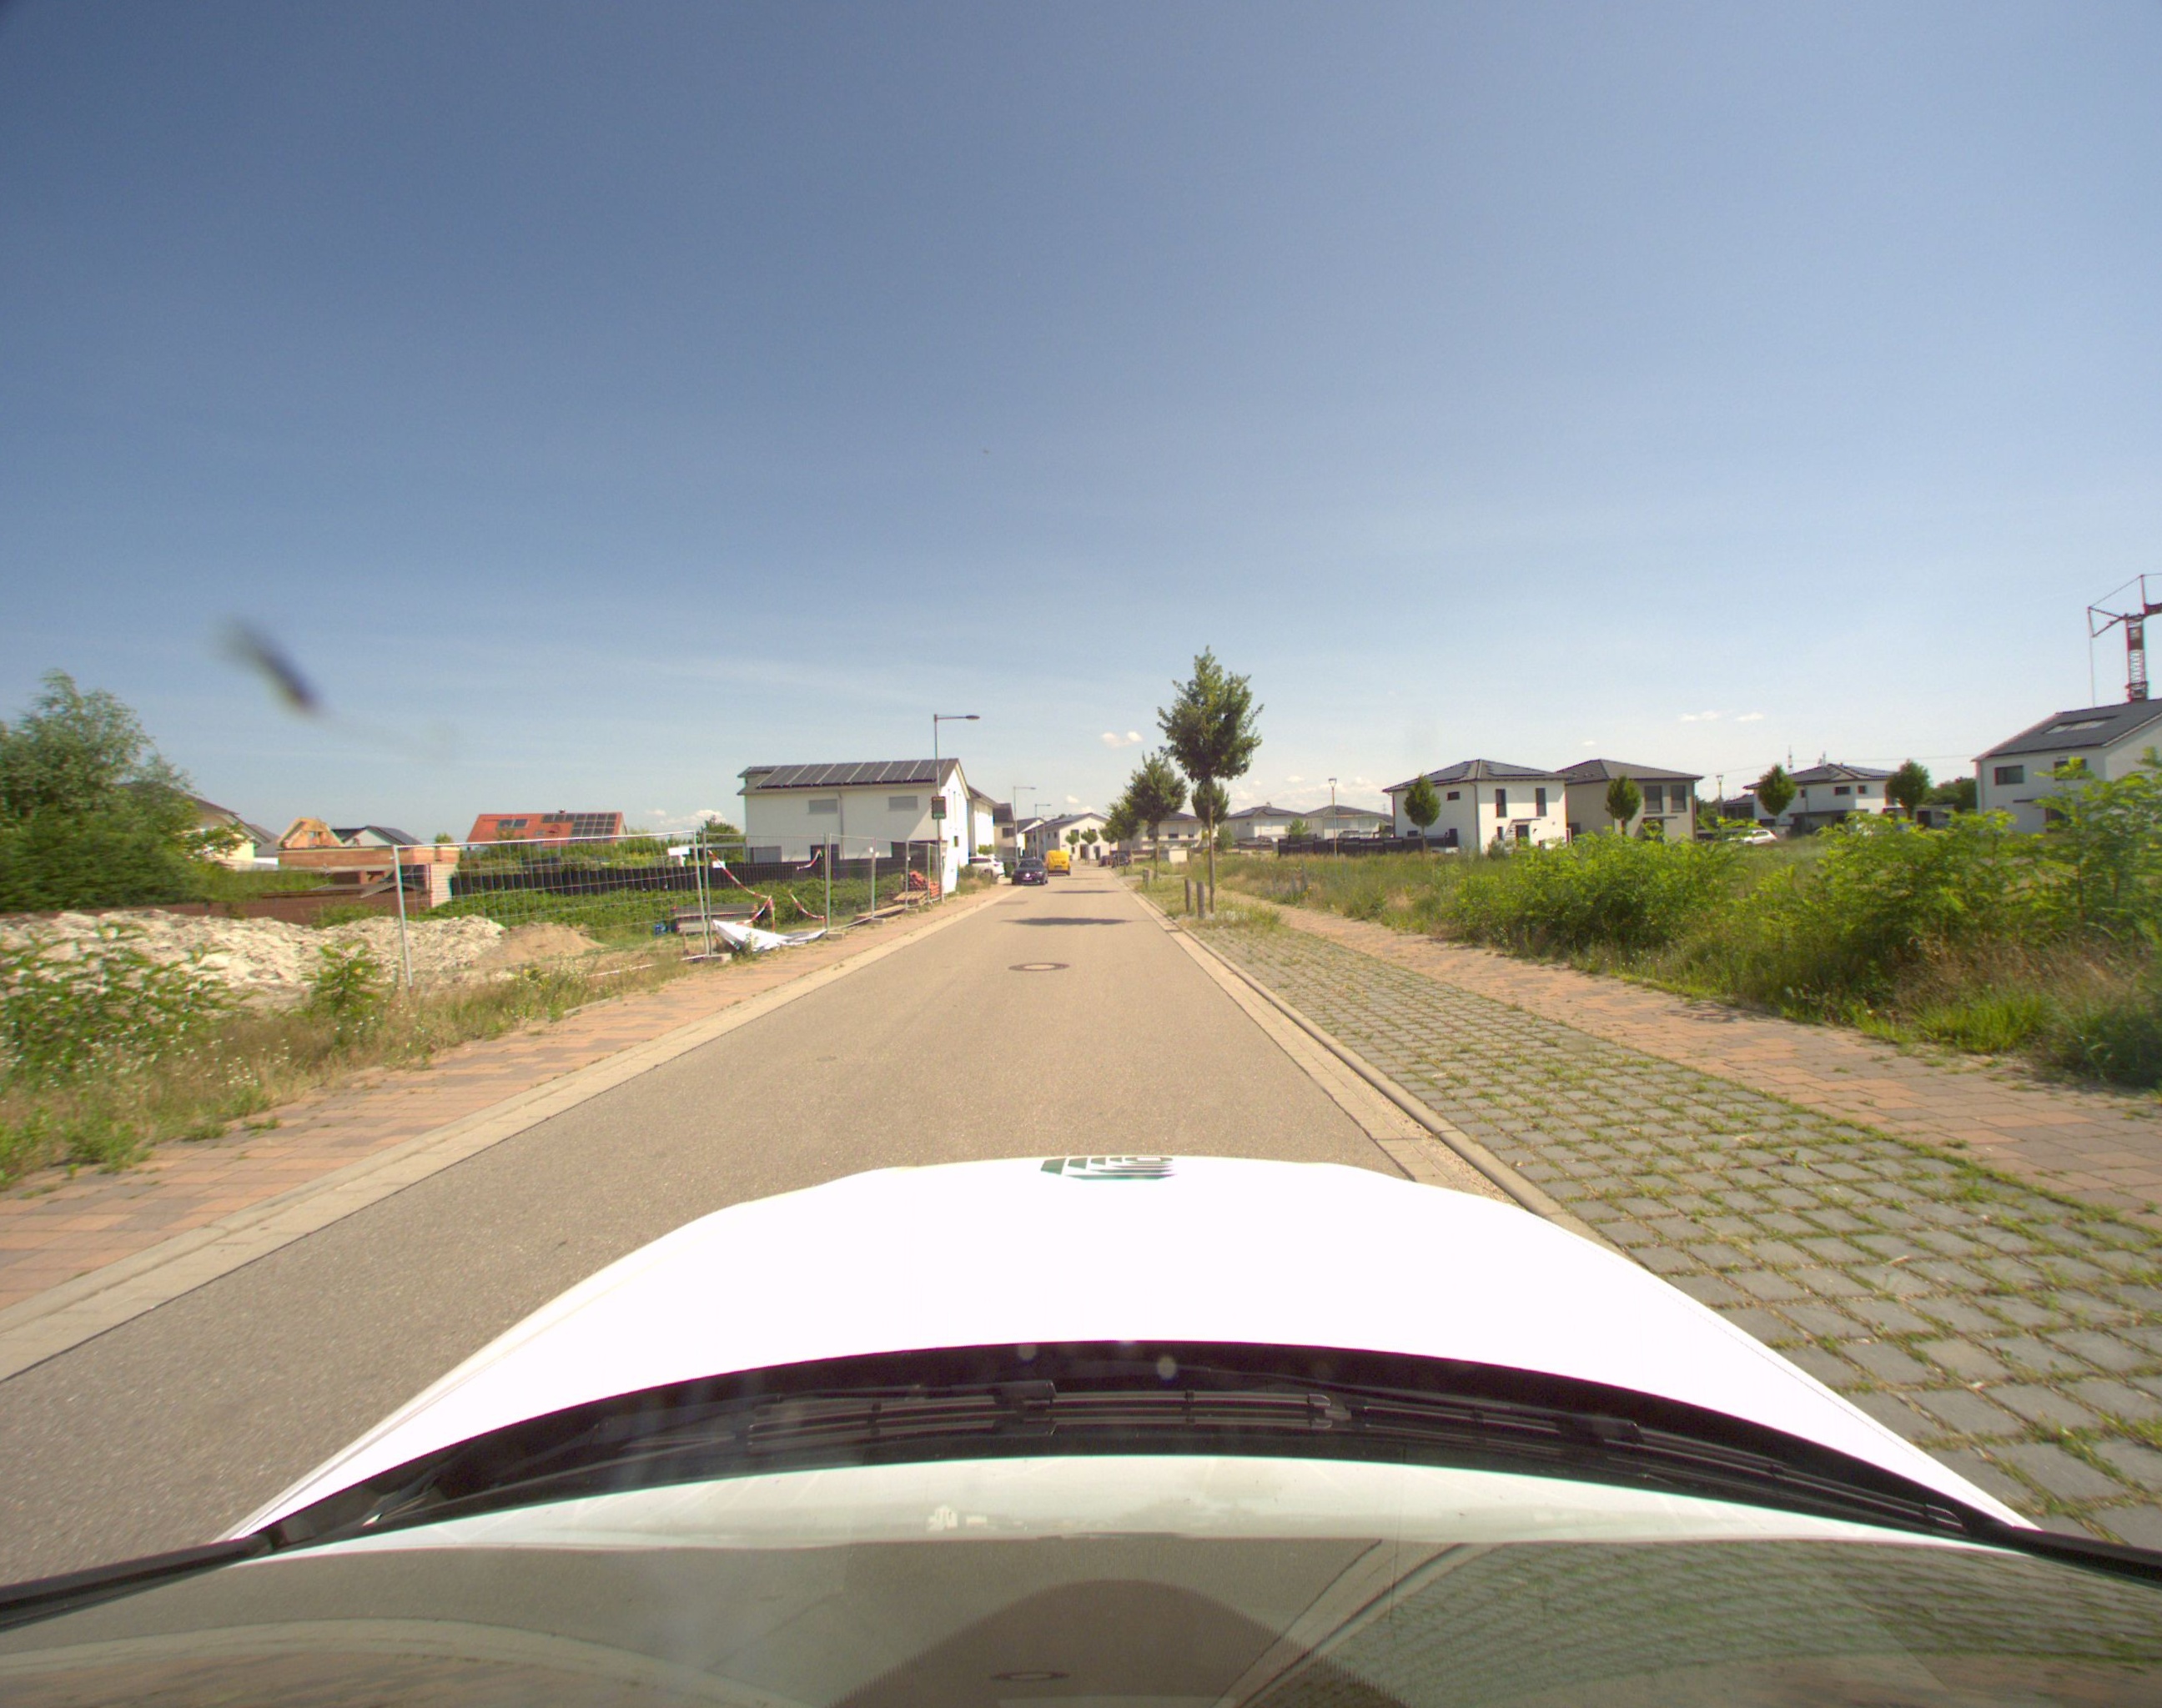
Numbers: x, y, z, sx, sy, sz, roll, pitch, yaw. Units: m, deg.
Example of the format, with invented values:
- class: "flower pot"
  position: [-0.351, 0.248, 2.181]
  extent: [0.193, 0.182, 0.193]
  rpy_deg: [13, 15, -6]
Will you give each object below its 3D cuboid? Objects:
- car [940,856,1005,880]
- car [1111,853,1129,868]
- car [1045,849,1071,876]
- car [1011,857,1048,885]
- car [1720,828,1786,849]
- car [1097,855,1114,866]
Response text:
- class: "car"
  position: [-7.405, 0.950, 55.690]
  extent: [4.048, 1.581, 1.787]
  rpy_deg: [-1, 1, 6]
- class: "car"
  position: [4.058, 0.675, 85.376]
  extent: [1.634, 1.403, 3.809]
  rpy_deg: [-2, -2, 0]
- class: "car"
  position: [-1.879, 0.682, 65.319]
  extent: [1.937, 1.981, 4.212]
  rpy_deg: [-2, -1, -3]
- class: "car"
  position: [-2.812, 0.908, 45.174]
  extent: [1.739, 1.405, 4.159]
  rpy_deg: [0, 0, 0]
- class: "car"
  position: [50.284, -1.166, 60.926]
  extent: [3.992, 1.398, 1.742]
  rpy_deg: [-2, -1, -14]
- class: "car"
  position: [3.135, 0.858, 103.993]
  extent: [1.626, 1.322, 3.825]
  rpy_deg: [-2, -2, -6]
